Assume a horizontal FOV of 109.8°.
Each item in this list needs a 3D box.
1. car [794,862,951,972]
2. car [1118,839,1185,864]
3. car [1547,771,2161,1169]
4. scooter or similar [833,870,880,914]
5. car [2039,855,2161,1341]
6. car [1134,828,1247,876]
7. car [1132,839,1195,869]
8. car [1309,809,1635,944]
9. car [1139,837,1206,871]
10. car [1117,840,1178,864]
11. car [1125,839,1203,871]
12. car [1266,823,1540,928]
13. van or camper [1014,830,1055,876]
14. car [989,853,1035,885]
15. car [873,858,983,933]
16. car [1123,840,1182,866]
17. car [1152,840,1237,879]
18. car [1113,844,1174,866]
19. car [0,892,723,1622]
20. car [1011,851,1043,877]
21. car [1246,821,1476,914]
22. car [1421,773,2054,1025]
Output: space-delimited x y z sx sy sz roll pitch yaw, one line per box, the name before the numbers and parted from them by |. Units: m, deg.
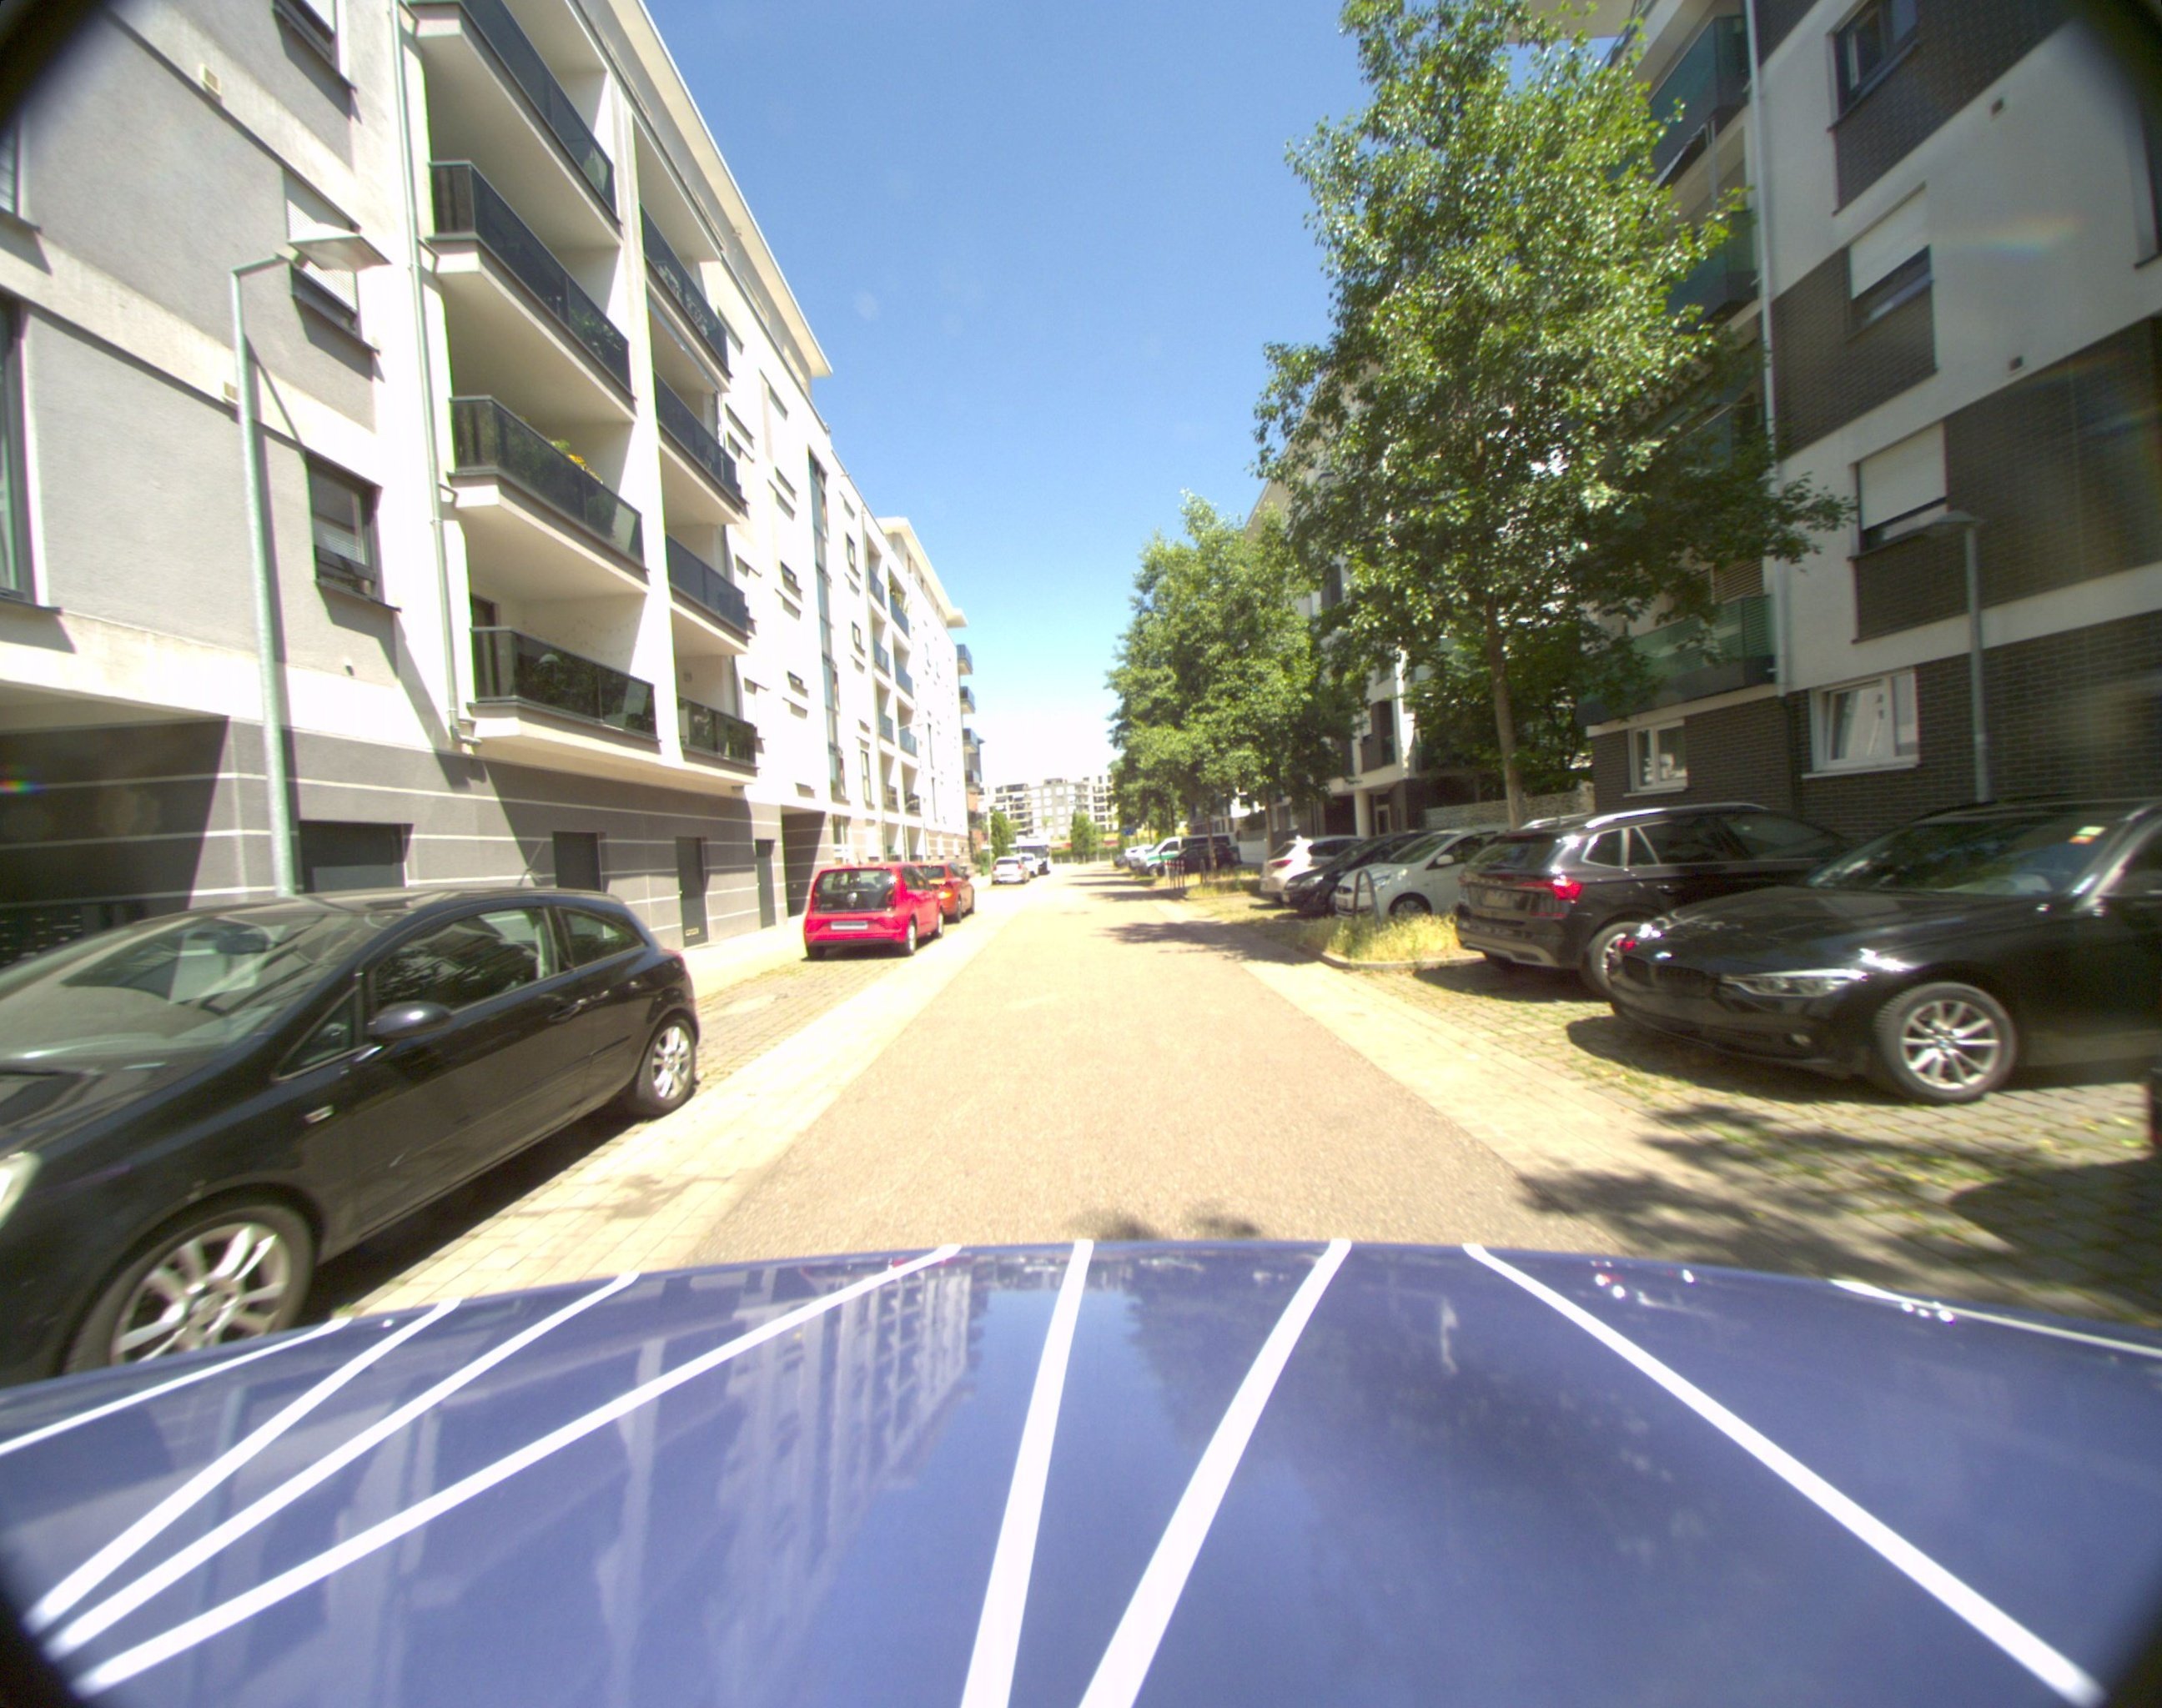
car | -3.365 0.944 12.958 1.599 1.477 3.675 -2 1 0
car | 5.677 -0.187 61.474 5.042 1.623 2.042 -4 0 -2
car | 5.333 0.447 4.386 3.996 1.641 1.918 -5 1 2
scooter or similar | -6.861 1.148 23.300 0.546 1.218 1.530 -4 1 15
car | 5.229 0.584 1.745 3.985 1.437 1.774 -5 1 -4
car | 5.499 -0.109 38.720 5.355 2.098 2.187 -4 1 2
car | 5.554 -0.014 51.531 3.990 1.620 1.949 -5 1 2
car | 5.877 0.321 11.819 3.997 1.582 1.883 -5 1 1
car | 5.523 0.003 46.261 3.689 1.666 1.852 -5 1 -1
car | 5.565 -0.166 63.889 4.831 1.441 1.827 -6 1 -2
car | 5.276 0.028 48.900 4.571 1.585 1.965 -6 1 -5
car | 5.938 0.372 14.381 4.327 1.467 1.792 -5 1 0
van or camper | -3.238 -0.132 54.947 2.445 2.889 7.824 -5 1 -1
car | -3.528 0.740 39.661 1.850 1.408 4.425 -4 1 1
car | -3.576 0.910 18.493 1.742 1.478 4.258 -2 1 0
car | 5.504 -0.078 58.756 4.263 1.522 1.822 -6 1 -3
car | 5.311 0.250 35.936 3.632 1.473 1.677 -5 1 -1
car | 5.445 0.064 66.539 5.112 1.476 1.927 -4 1 -2
car | -3.320 1.038 3.190 1.647 1.454 4.117 -2 1 0
car | -3.434 0.594 48.672 1.812 1.496 4.259 -2 1 -2
car | 6.058 0.274 16.825 4.263 1.509 1.924 -6 1 0
car | 5.577 0.341 6.910 3.997 1.620 1.933 -5 1 0
